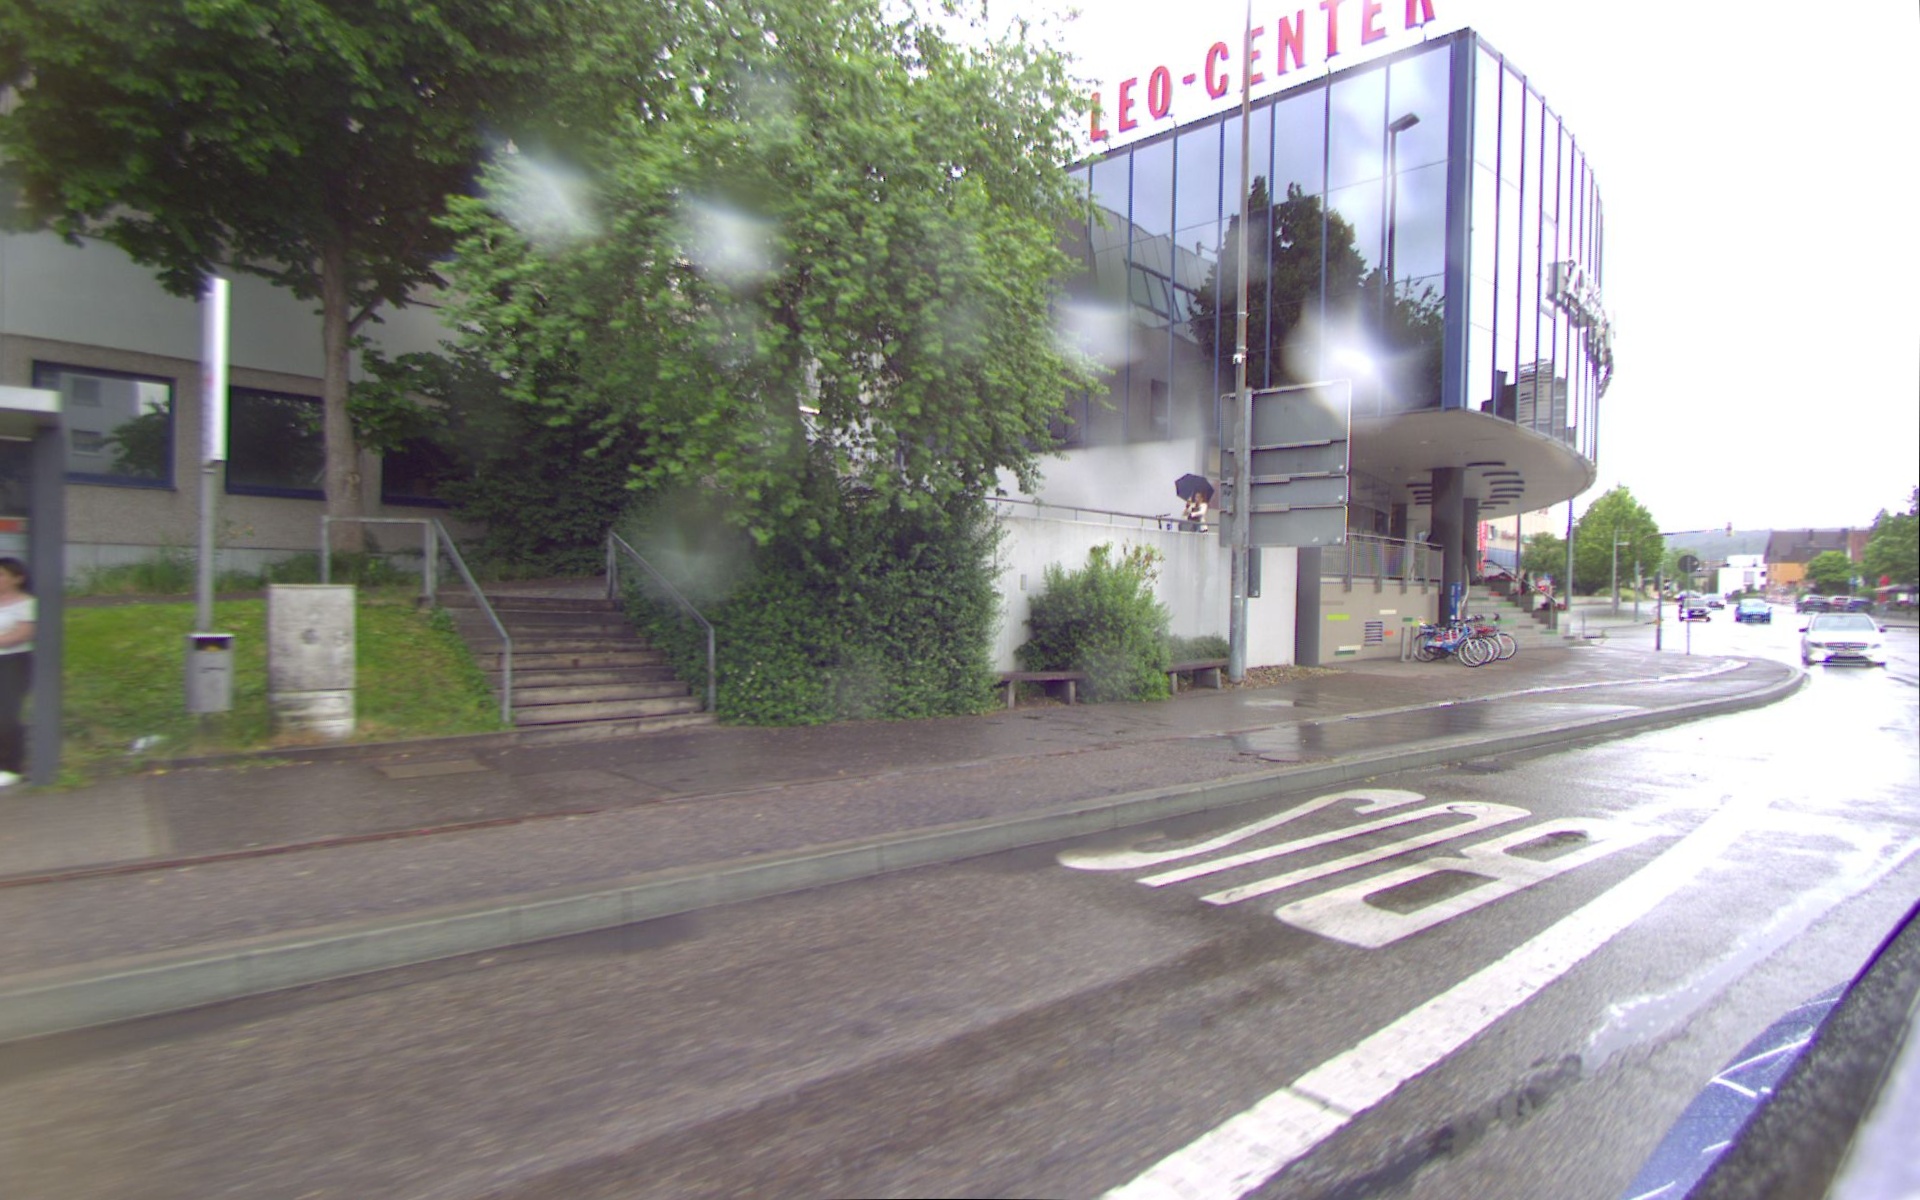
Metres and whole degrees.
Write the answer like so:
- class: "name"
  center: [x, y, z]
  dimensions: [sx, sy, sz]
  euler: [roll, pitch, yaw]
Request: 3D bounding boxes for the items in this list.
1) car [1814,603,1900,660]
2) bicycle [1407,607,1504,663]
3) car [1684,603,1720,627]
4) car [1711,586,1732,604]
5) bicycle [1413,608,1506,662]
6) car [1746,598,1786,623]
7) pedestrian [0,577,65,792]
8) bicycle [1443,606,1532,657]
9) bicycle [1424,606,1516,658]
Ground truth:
- class: "car"
  center: [26.704, 0.911, 30.114]
  dimensions: [1.756, 1.569, 4.259]
  euler: [-2, -2, 42]
- class: "bicycle"
  center: [11.233, 0.777, 22.989]
  dimensions: [0.682, 1.124, 1.812]
  euler: [1, 2, -44]
- class: "car"
  center: [50.648, 0.995, 69.046]
  dimensions: [1.891, 1.545, 3.946]
  euler: [1, 0, 37]
- class: "car"
  center: [73.764, -0.485, 98.027]
  dimensions: [1.575, 1.660, 3.591]
  euler: [0, 0, 37]
- class: "bicycle"
  center: [11.646, 0.796, 23.647]
  dimensions: [0.673, 1.098, 1.803]
  euler: [0, 3, -44]
- class: "car"
  center: [52.731, 0.681, 66.271]
  dimensions: [1.891, 1.545, 3.946]
  euler: [1, 0, 37]
- class: "pedestrian"
  center: [-6.482, 0.544, 6.808]
  dimensions: [0.533, 1.382, 0.412]
  euler: [2, 1, 0]
- class: "bicycle"
  center: [13.103, 0.766, 25.168]
  dimensions: [0.683, 1.124, 1.832]
  euler: [0, 2, -44]
- class: "bicycle"
  center: [12.175, 0.743, 24.182]
  dimensions: [0.682, 1.124, 1.812]
  euler: [1, 2, -44]
